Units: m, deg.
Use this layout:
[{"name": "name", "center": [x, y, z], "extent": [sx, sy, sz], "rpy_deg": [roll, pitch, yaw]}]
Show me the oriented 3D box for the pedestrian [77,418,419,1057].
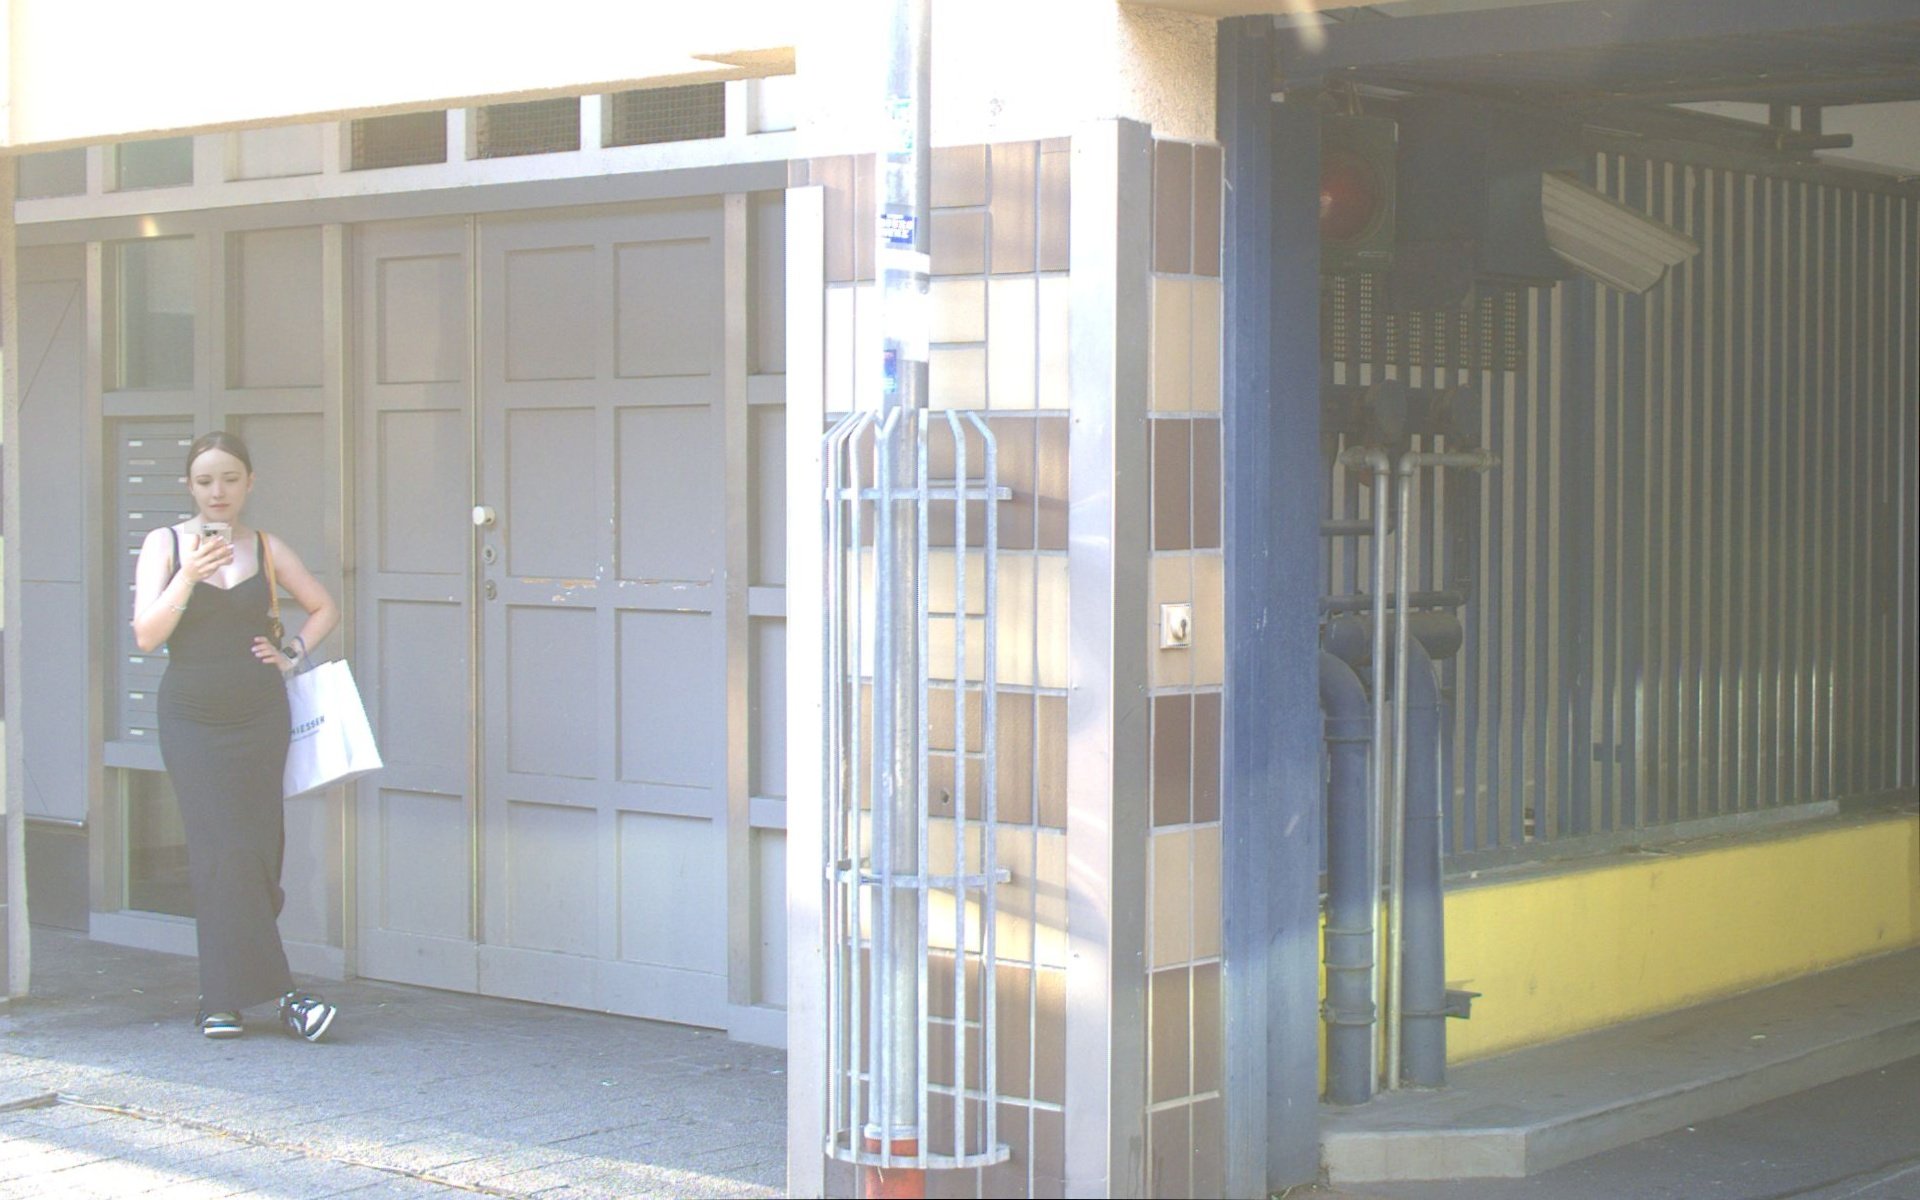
[{"name": "pedestrian", "center": [-1.830, 0.327, 8.810], "extent": [0.776, 1.567, 0.534], "rpy_deg": [0, 2, -22]}]
